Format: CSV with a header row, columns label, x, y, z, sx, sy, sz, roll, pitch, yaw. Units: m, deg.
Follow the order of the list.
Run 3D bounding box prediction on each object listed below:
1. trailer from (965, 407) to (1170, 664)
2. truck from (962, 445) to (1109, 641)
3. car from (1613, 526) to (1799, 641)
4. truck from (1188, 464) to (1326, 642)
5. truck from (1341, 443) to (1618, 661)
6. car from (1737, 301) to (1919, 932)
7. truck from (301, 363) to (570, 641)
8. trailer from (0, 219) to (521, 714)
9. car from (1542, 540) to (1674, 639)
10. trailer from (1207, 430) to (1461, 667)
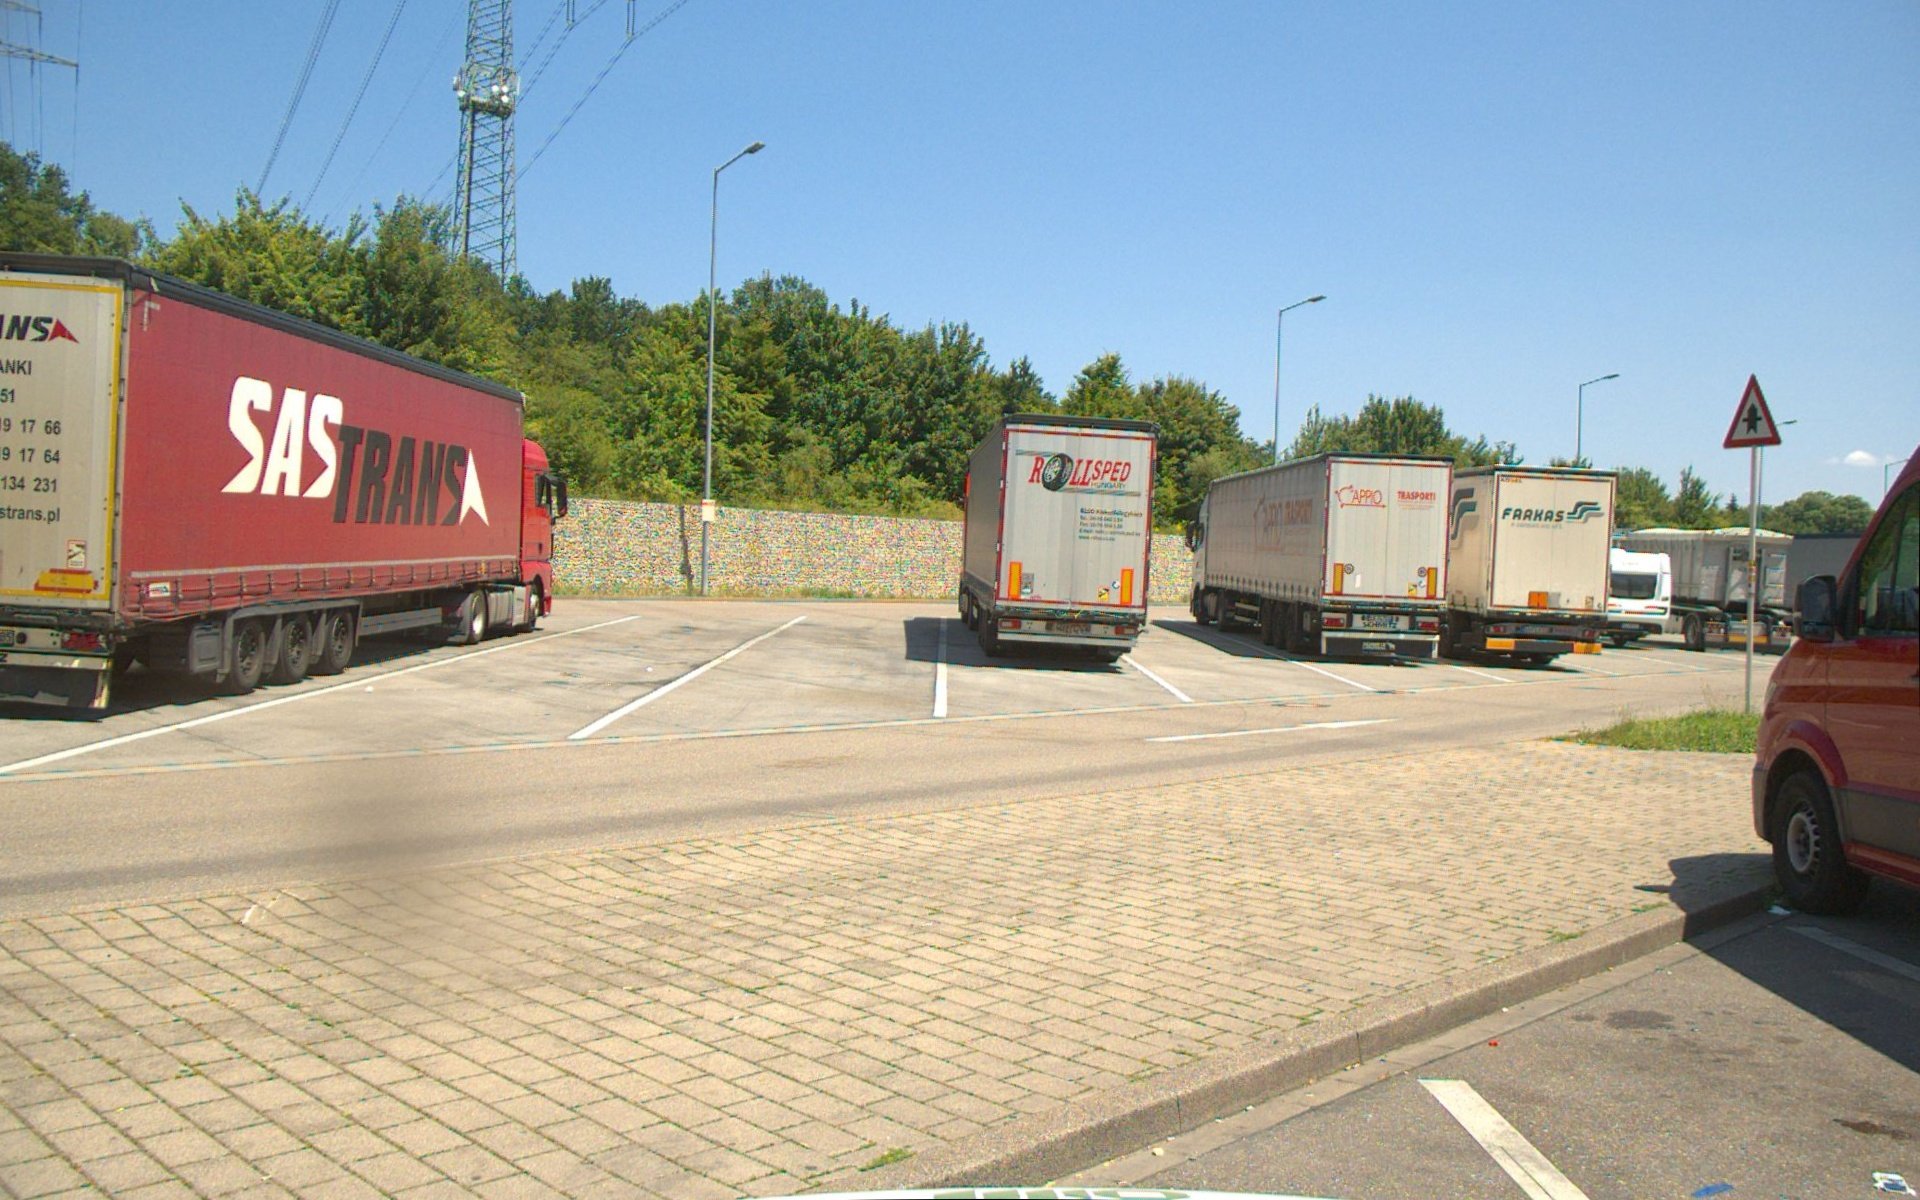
label,x,y,z,sx,sy,sz,roll,pitch,yaw
trailer,1.739,-1.133,32.165,2.839,4.083,11.313,1,1,-2
truck,1.586,-1.243,37.600,2.813,4.050,6.027,1,1,-2
car,21.704,-0.505,48.504,2.448,3.128,6.350,1,1,-1
truck,8.025,-1.257,45.396,2.607,4.530,5.863,1,1,-1
truck,11.722,-0.933,38.876,2.534,4.299,11.967,1,0,-1
car,4.980,0.103,5.580,1.952,2.679,6.385,1,1,3
truck,-8.720,-1.552,28.246,2.749,4.205,5.893,1,1,-1
trailer,-8.633,-1.294,20.991,2.743,4.293,13.200,1,1,-1
car,18.238,-0.277,46.745,2.072,2.645,3.999,1,0,-1
trailer,8.179,-1.104,38.316,2.627,4.530,12.826,1,1,-1
